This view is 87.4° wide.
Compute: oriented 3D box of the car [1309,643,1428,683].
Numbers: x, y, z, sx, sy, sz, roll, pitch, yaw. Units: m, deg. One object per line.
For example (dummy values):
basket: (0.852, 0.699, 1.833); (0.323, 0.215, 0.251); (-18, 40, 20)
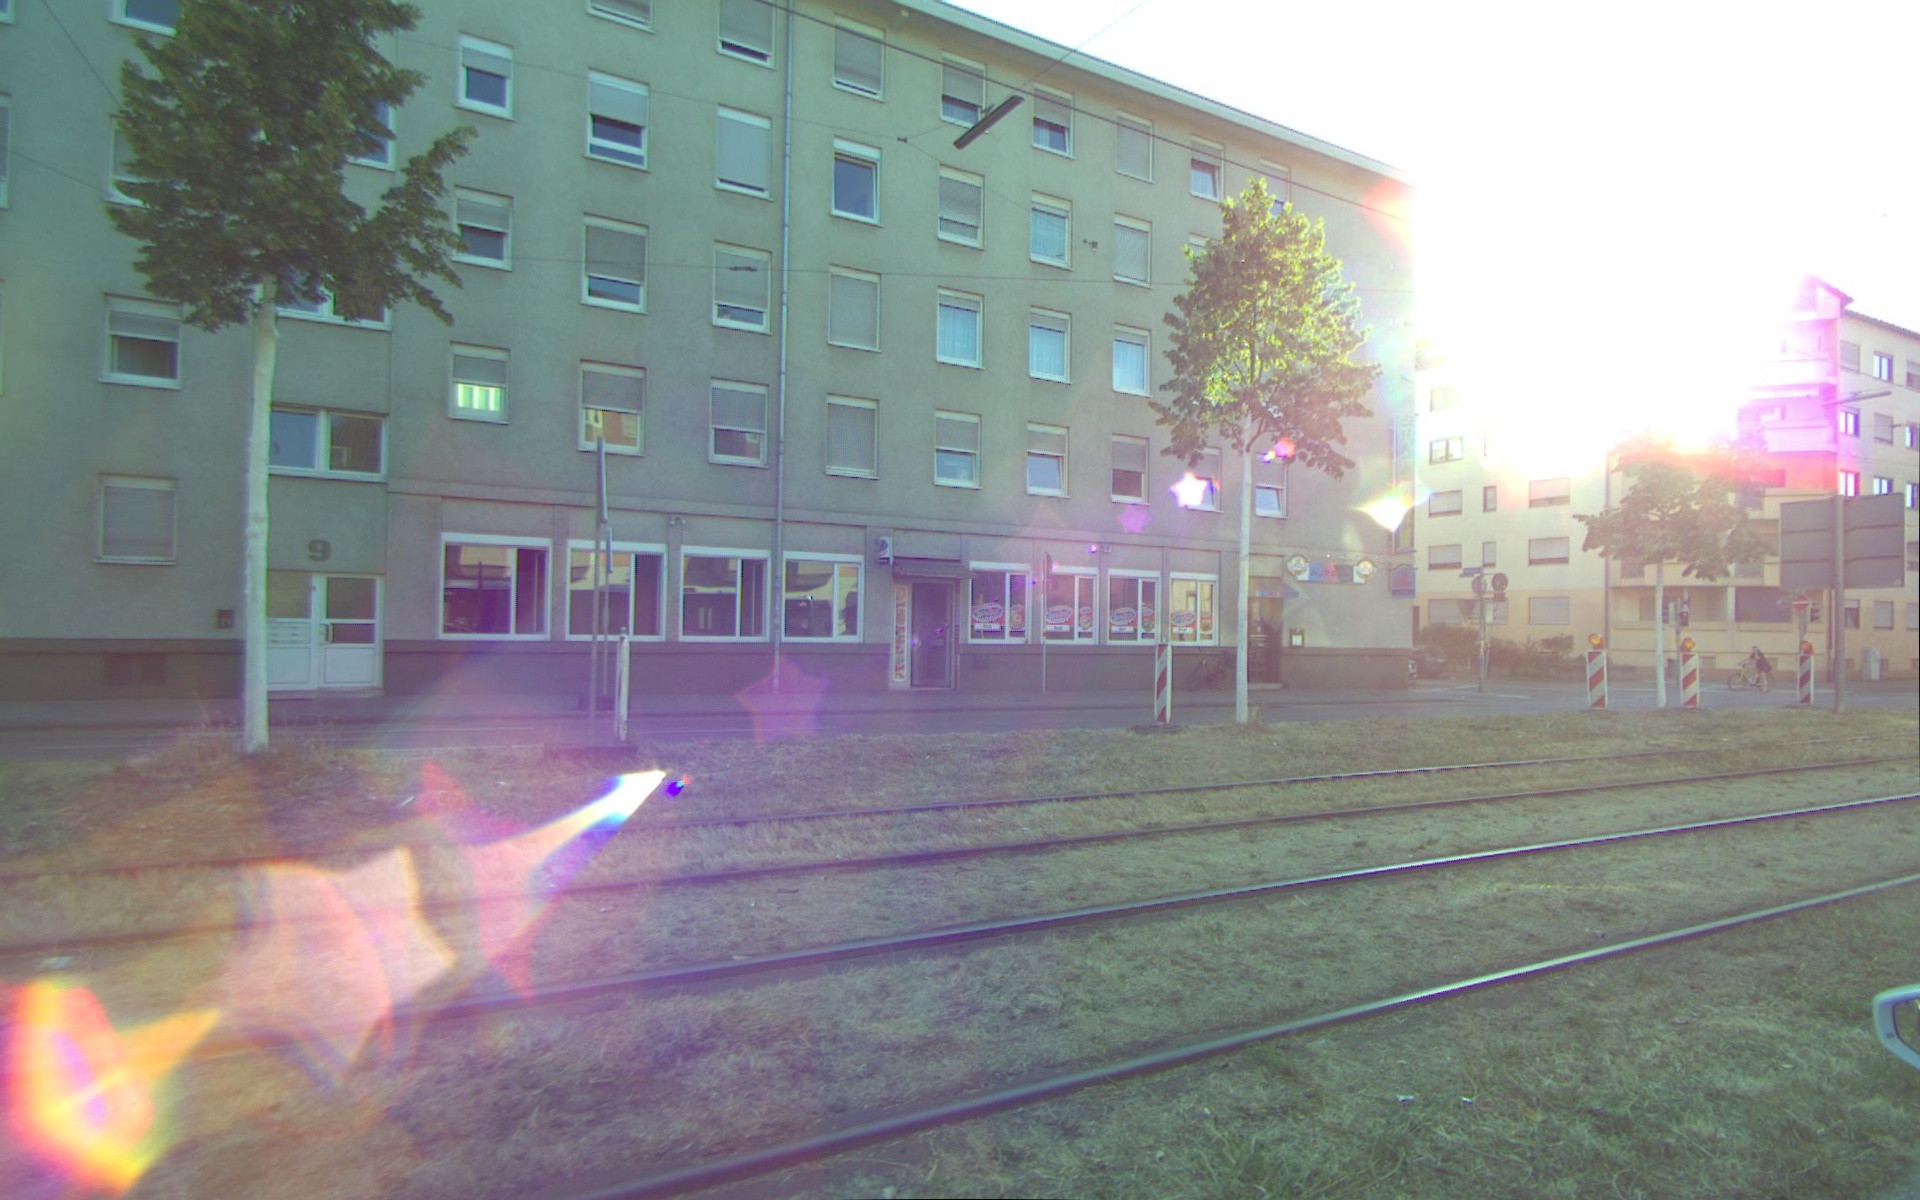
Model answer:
car: (16.088, 2.471, 39.702); (1.750, 1.406, 4.077); (3, -2, -37)

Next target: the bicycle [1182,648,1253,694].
bicycle: (6.656, 1.823, 25.929); (1.756, 1.129, 0.744); (2, -2, -28)

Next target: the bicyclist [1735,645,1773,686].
bicyclist: (29.079, 2.396, 36.799); (0.946, 1.466, 0.529); (1, -2, 3)

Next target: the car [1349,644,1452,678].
car: (19.875, 2.724, 45.403); (1.774, 1.458, 3.929); (3, -3, -37)

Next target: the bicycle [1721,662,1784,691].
bicycle: (29.009, 2.787, 36.794); (1.845, 0.997, 0.529); (1, -2, 3)
